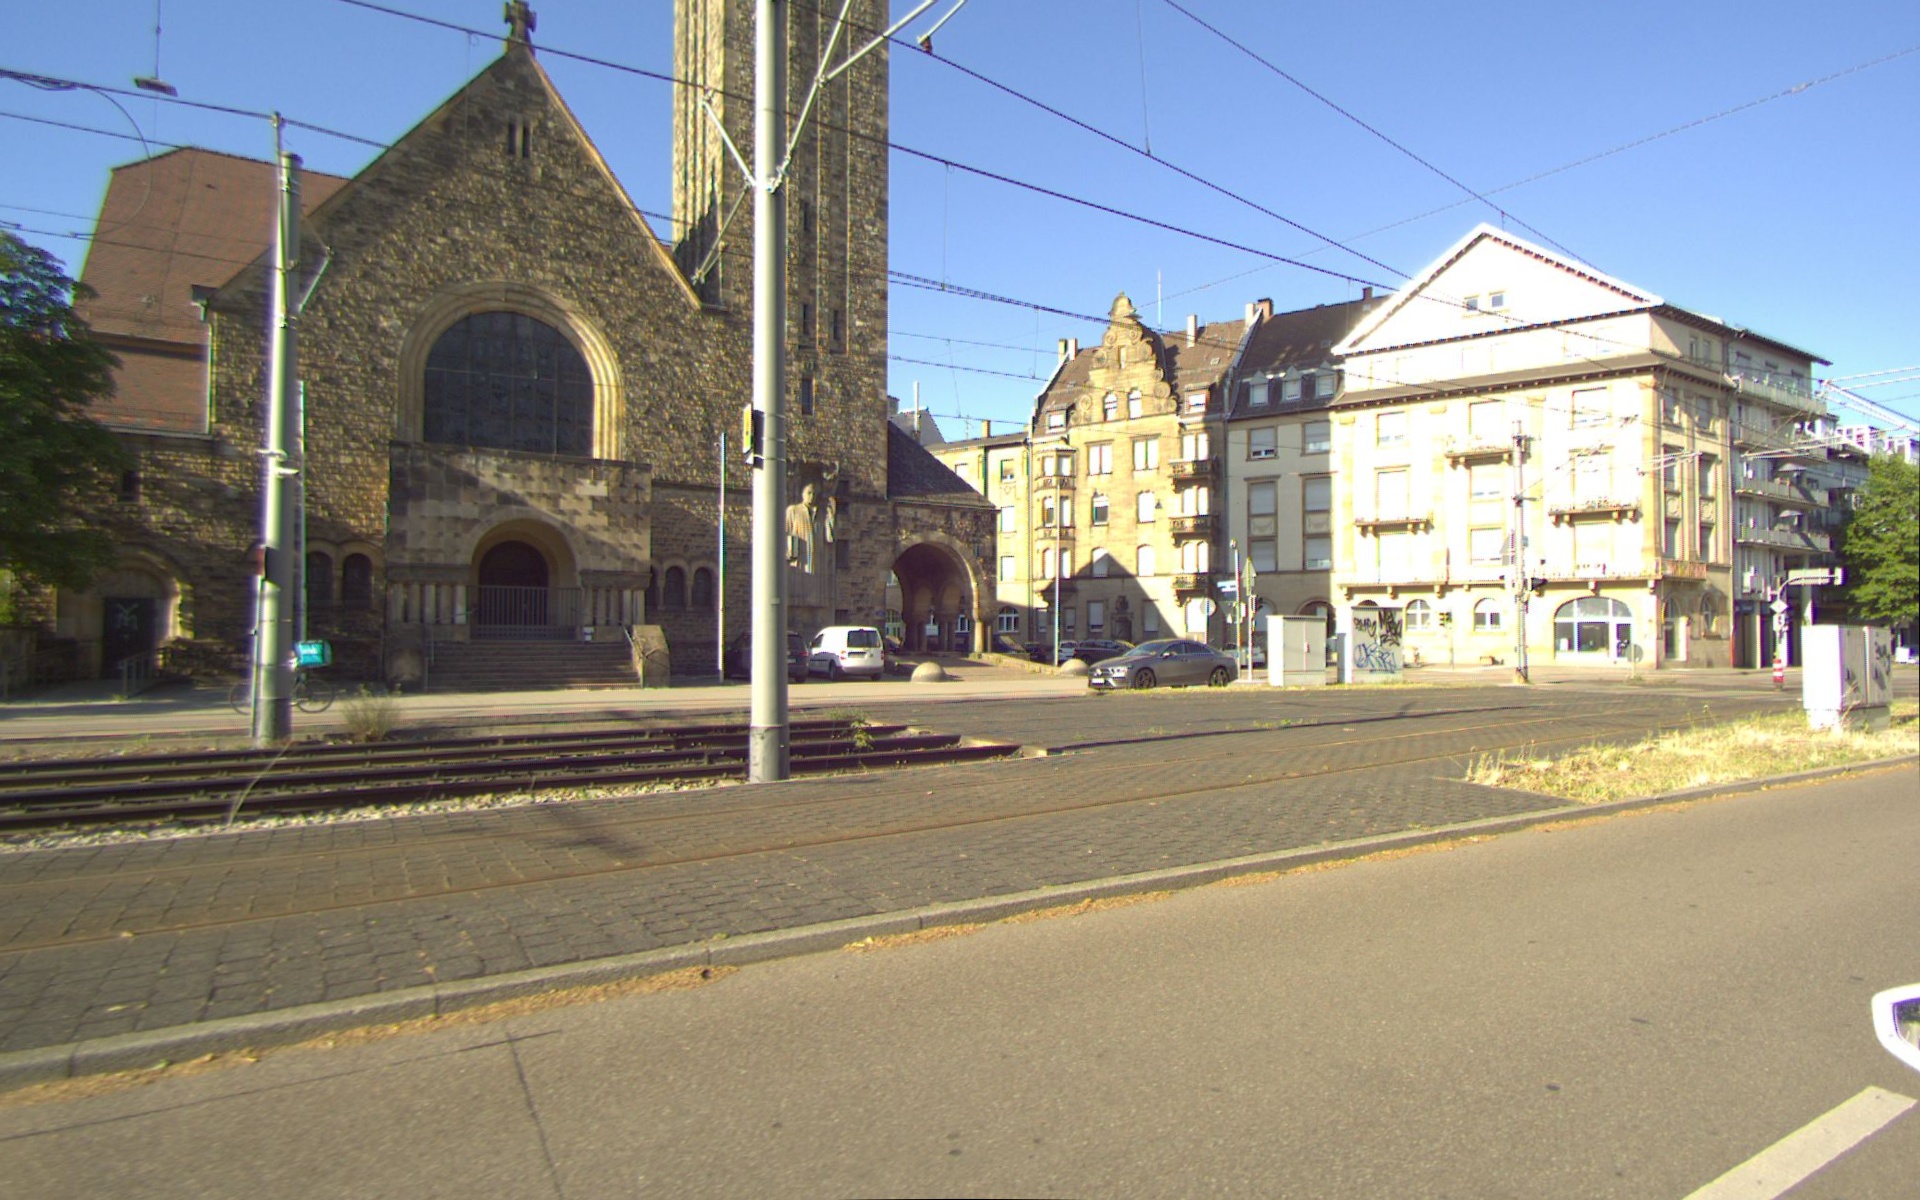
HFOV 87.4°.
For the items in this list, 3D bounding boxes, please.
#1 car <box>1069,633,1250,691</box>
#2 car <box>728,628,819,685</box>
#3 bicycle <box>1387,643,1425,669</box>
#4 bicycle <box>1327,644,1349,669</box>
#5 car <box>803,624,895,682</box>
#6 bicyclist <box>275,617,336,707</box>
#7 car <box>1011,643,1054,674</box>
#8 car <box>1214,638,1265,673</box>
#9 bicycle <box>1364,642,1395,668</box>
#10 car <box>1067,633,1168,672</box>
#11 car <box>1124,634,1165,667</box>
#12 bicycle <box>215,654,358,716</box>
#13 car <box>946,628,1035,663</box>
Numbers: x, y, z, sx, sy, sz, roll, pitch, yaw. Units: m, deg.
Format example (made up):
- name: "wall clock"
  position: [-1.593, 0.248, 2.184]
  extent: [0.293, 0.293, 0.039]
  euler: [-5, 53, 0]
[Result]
- name: "car"
  position: [5.516, 1.692, 27.636]
  extent: [4.784, 1.467, 1.985]
  euler: [1, -5, -31]
- name: "car"
  position: [-6.271, 1.833, 33.519]
  extent: [1.871, 1.651, 3.971]
  euler: [1, 0, -28]
- name: "bicycle"
  position: [24.128, 3.028, 54.376]
  extent: [2.543, 1.300, 0.815]
  euler: [1, 0, -40]
- name: "bicycle"
  position: [21.148, 3.145, 56.122]
  extent: [0.809, 1.300, 2.561]
  euler: [1, 0, 28]
- name: "car"
  position: [-3.969, 1.789, 35.244]
  extent: [1.871, 1.780, 3.971]
  euler: [1, 0, -28]
- name: "bicyclist"
  position: [-13.074, 1.235, 20.088]
  extent: [0.903, 1.745, 0.630]
  euler: [1, -4, -24]
- name: "car"
  position: [4.840, 3.905, 67.708]
  extent: [1.963, 1.776, 4.592]
  euler: [1, 0, -8]
- name: "car"
  position: [16.526, 3.259, 59.576]
  extent: [1.960, 1.776, 4.600]
  euler: [1, 0, 4]
- name: "bicycle"
  position: [22.875, 3.000, 54.702]
  extent: [0.812, 1.300, 2.552]
  euler: [1, 0, 40]
- name: "car"
  position: [8.276, 2.733, 53.012]
  extent: [4.853, 1.776, 1.995]
  euler: [1, 0, 33]
- name: "car"
  position: [11.576, 3.146, 63.328]
  extent: [1.960, 1.776, 4.600]
  euler: [1, 0, 4]
- name: "bicycle"
  position: [-13.325, 1.669, 19.949]
  extent: [2.247, 1.159, 0.630]
  euler: [1, -4, -25]
- name: "car"
  position: [1.725, 2.583, 57.701]
  extent: [4.688, 1.776, 2.148]
  euler: [1, 0, 35]
